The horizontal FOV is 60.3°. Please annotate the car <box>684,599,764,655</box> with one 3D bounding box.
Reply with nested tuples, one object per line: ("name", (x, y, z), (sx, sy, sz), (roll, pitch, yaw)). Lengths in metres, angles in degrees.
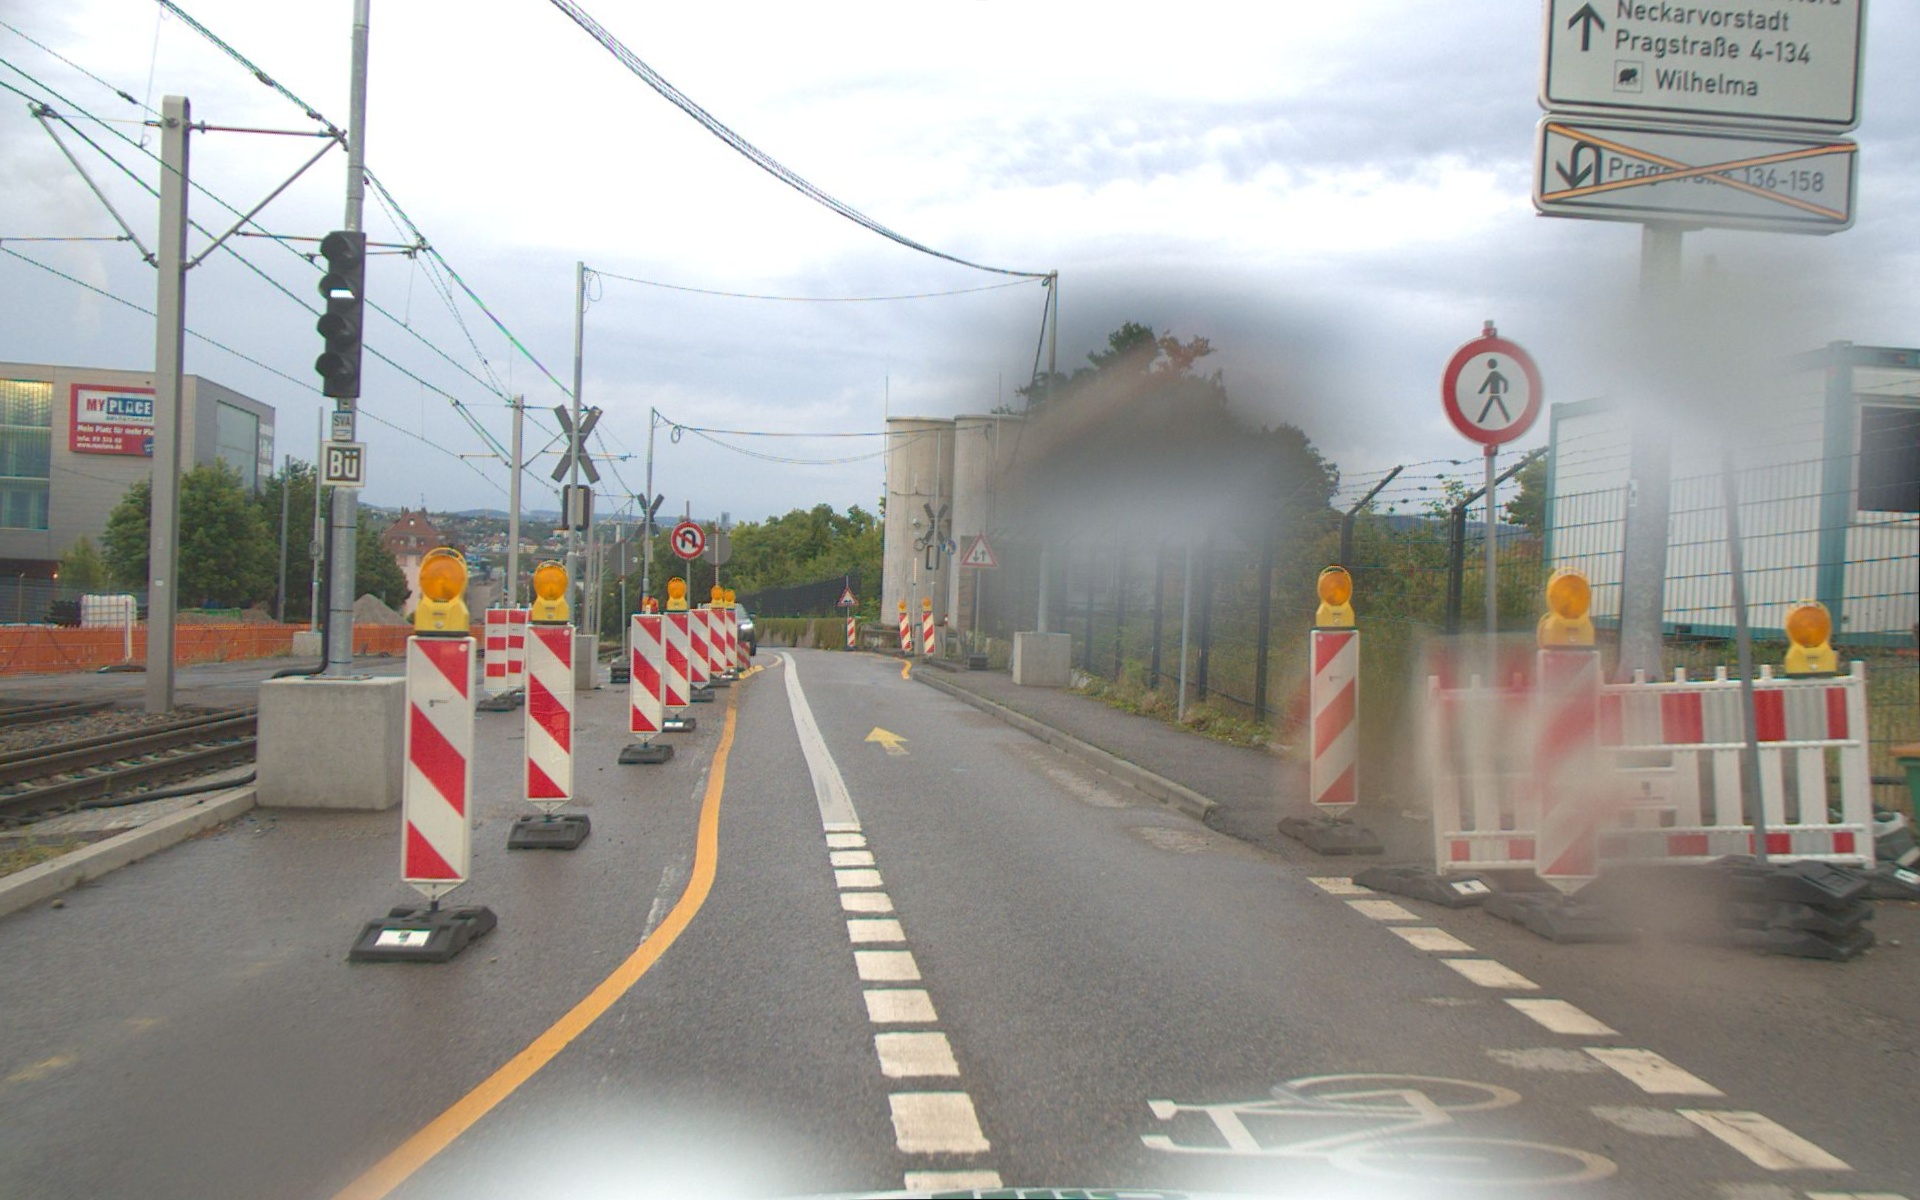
("car", (-7.647, 0.845, 53.358), (1.961, 1.707, 4.469), (1, -1, -16))
